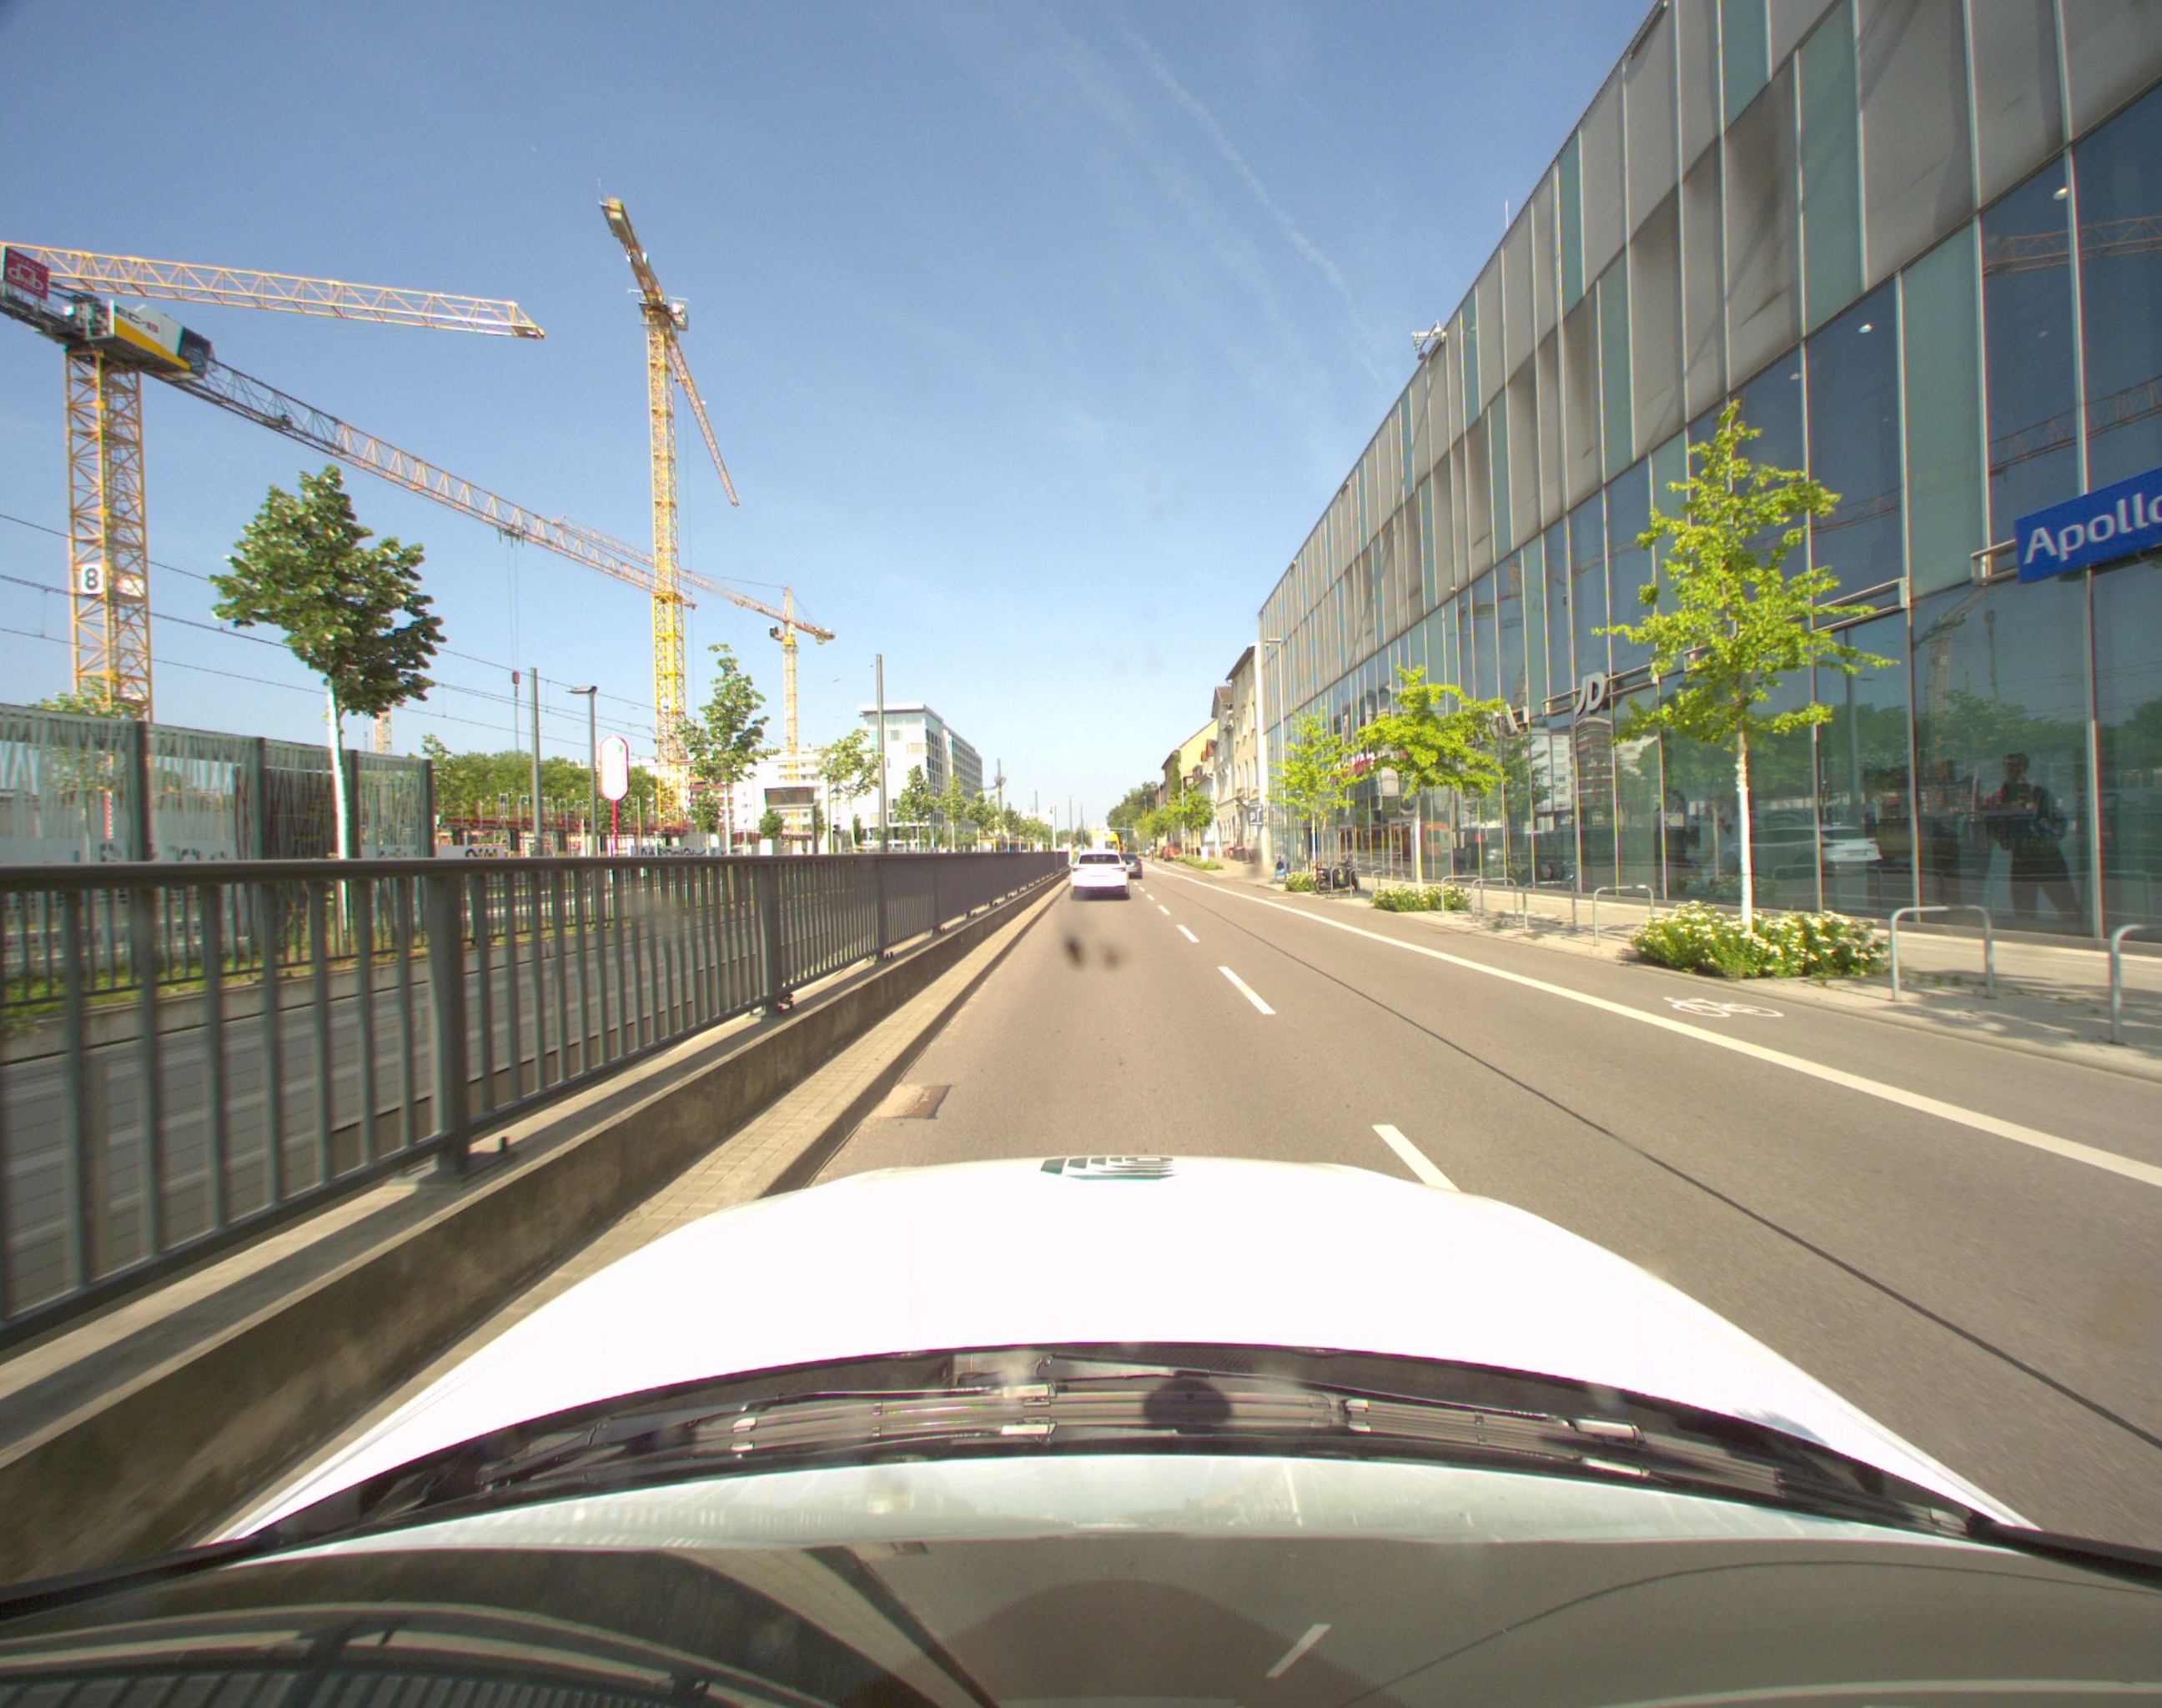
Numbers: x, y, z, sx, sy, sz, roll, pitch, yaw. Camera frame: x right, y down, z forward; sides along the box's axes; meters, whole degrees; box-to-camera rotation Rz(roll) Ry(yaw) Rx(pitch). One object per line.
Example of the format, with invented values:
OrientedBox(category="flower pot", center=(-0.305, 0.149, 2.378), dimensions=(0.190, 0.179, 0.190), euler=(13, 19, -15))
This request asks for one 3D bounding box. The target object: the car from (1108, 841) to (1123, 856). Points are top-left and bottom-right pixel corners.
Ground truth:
OrientedBox(category="car", center=(4.636, -0.748, 109.234), dimensions=(1.986, 2.013, 4.001), euler=(0, 0, 1))

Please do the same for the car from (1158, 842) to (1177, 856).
OrientedBox(category="car", center=(9.980, -0.541, 94.154), dimensions=(1.667, 1.483, 4.314), euler=(-3, 0, 1))

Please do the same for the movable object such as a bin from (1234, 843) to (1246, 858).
OrientedBox(category="movable object such as a bin", center=(12.322, -0.269, 63.058), dimensions=(0.779, 1.172, 0.808), euler=(-1, 2, 1))

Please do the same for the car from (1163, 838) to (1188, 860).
OrientedBox(category="car", center=(9.360, -0.555, 81.015), dimensions=(2.055, 2.013, 4.590), euler=(-2, 1, 1))

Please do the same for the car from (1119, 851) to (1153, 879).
OrientedBox(category="car", center=(3.045, 0.576, 45.511), dimensions=(1.753, 1.436, 4.117), euler=(0, 1, 2))

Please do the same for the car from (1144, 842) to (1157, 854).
OrientedBox(category="car", center=(10.642, -0.944, 124.658), dimensions=(1.806, 1.812, 3.837), euler=(-1, 1, 1))

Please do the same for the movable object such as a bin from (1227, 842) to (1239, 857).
OrientedBox(category="movable object such as a bin", center=(12.415, -0.378, 66.480), dimensions=(0.674, 1.152, 0.610), euler=(-4, 3, -42))

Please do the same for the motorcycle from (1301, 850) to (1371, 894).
OrientedBox(category="motorcycle", center=(8.396, 0.577, 26.846), dimensions=(1.968, 1.349, 0.865), euler=(-2, 0, -9))

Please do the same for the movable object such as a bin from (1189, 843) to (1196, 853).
OrientedBox(category="movable object such as a bin", center=(13.234, -0.738, 96.720), dimensions=(0.737, 1.200, 0.774), euler=(-1, 1, 1))

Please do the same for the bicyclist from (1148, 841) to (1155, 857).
OrientedBox(category="bicyclist", center=(7.053, -0.510, 81.066), dimensions=(0.636, 1.577, 0.772), euler=(-2, 0, 4))

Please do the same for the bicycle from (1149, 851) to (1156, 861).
OrientedBox(category="bicycle", center=(7.080, 0.214, 81.140), dimensions=(0.652, 0.938, 1.519), euler=(-2, 1, 4))

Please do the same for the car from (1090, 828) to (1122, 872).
OrientedBox(category="car", center=(1.773, -0.365, 56.695), dimensions=(2.012, 2.795, 5.405), euler=(-2, 3, 2))

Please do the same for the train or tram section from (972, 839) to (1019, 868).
OrientedBox(category="train or tram section", center=(-11.370, -0.134, 110.525), dimensions=(2.892, 3.676, 18.161), euler=(0, 0, 5))

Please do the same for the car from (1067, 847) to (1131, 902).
OrientedBox(category="car", center=(0.620, 0.595, 26.437), dimensions=(1.863, 1.574, 4.002), euler=(-2, 1, 2))

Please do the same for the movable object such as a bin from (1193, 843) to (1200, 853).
OrientedBox(category="movable object such as a bin", center=(13.240, -0.687, 93.688), dimensions=(0.677, 1.200, 0.781), euler=(-1, 1, 1))

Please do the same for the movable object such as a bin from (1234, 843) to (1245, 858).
OrientedBox(category="movable object such as a bin", center=(12.451, -0.307, 64.027), dimensions=(0.702, 1.152, 0.671), euler=(-1, 2, 1))
